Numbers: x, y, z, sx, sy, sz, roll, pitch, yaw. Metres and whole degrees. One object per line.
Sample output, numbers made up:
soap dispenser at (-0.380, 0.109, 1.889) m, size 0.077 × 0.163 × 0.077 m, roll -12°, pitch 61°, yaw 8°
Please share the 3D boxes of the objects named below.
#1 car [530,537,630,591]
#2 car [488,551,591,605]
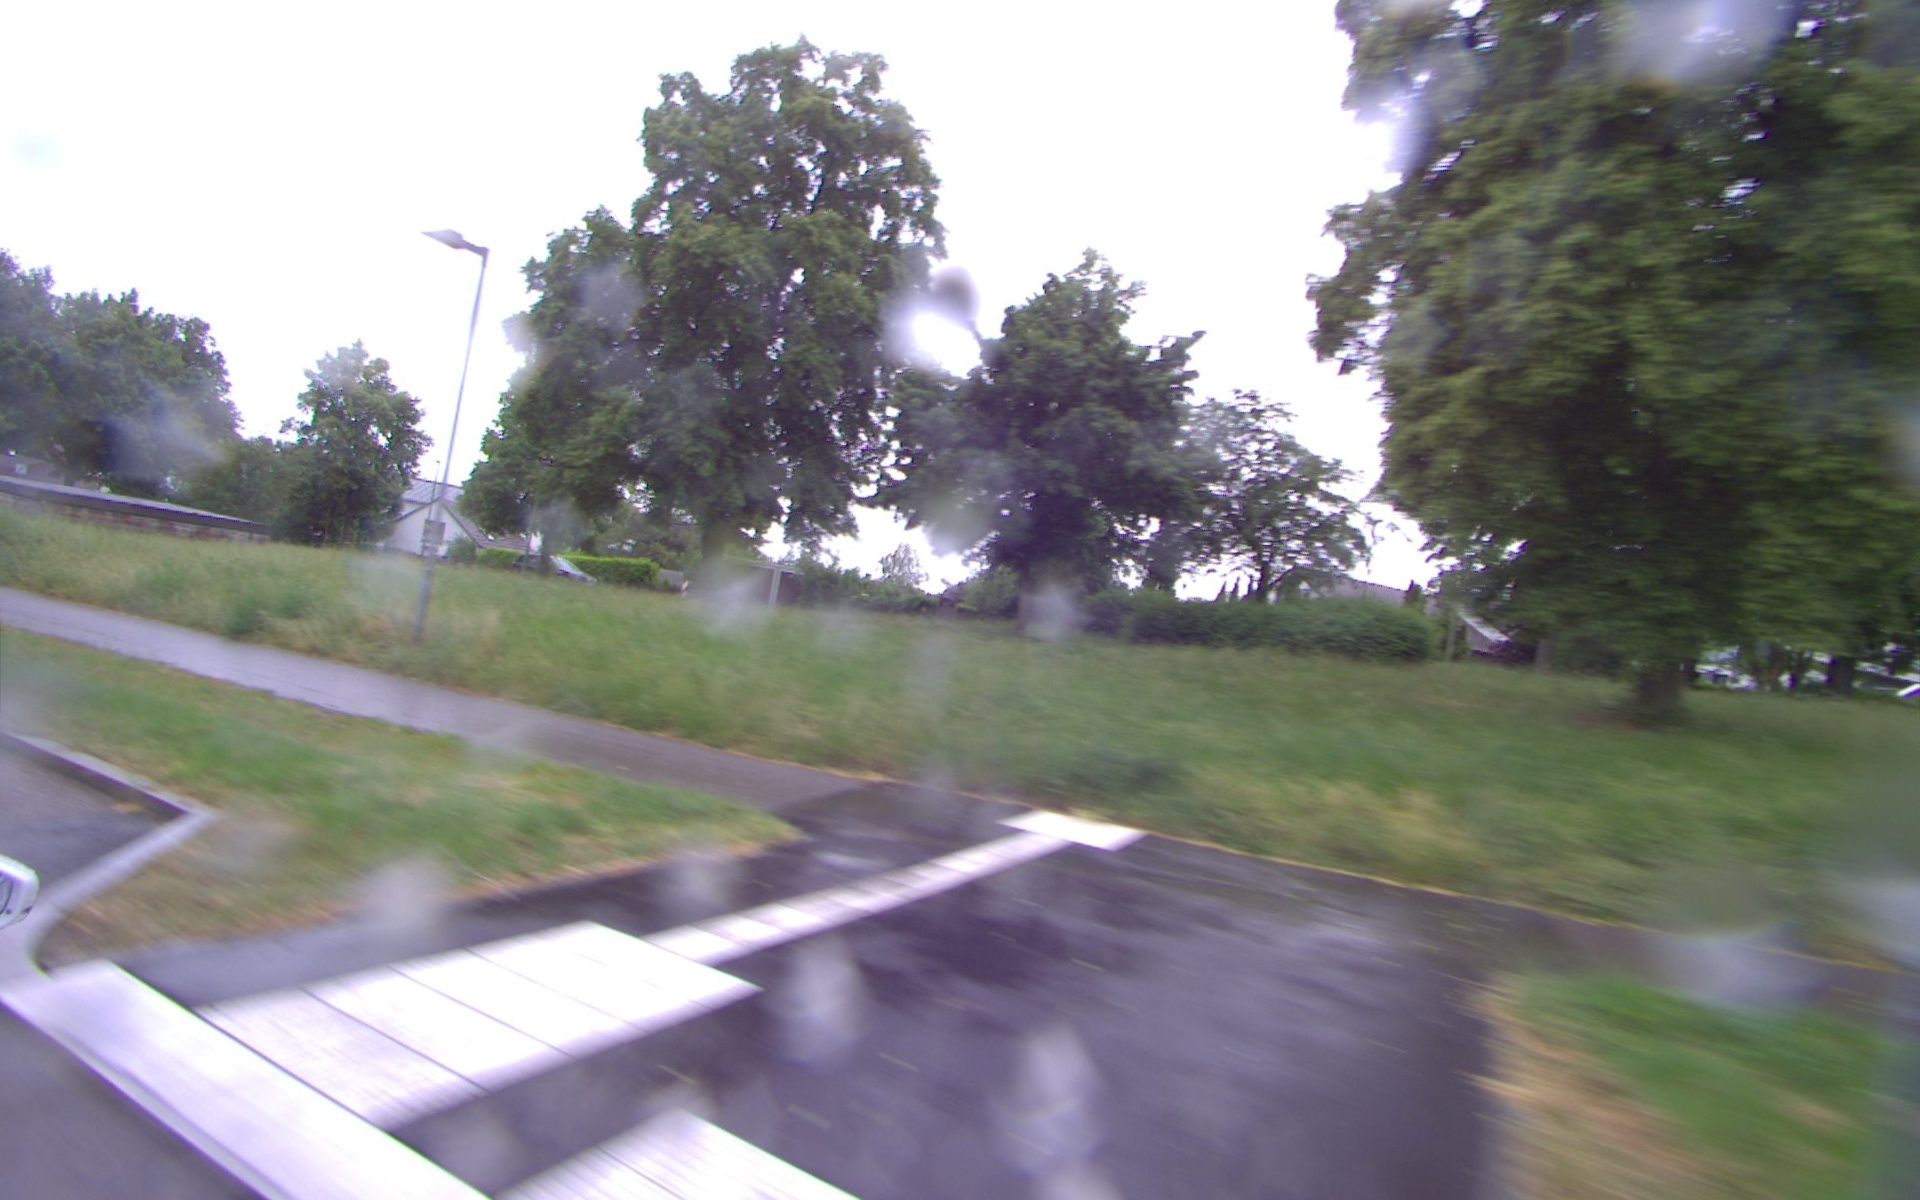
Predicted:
car at (-23.306, -2.117, 62.133) m, size 2.565 × 2.528 × 6.689 m, roll 10°, pitch 0°, yaw 7°
car at (-17.460, -0.927, 41.740) m, size 3.933 × 1.672 × 1.829 m, roll 7°, pitch -1°, yaw 31°
